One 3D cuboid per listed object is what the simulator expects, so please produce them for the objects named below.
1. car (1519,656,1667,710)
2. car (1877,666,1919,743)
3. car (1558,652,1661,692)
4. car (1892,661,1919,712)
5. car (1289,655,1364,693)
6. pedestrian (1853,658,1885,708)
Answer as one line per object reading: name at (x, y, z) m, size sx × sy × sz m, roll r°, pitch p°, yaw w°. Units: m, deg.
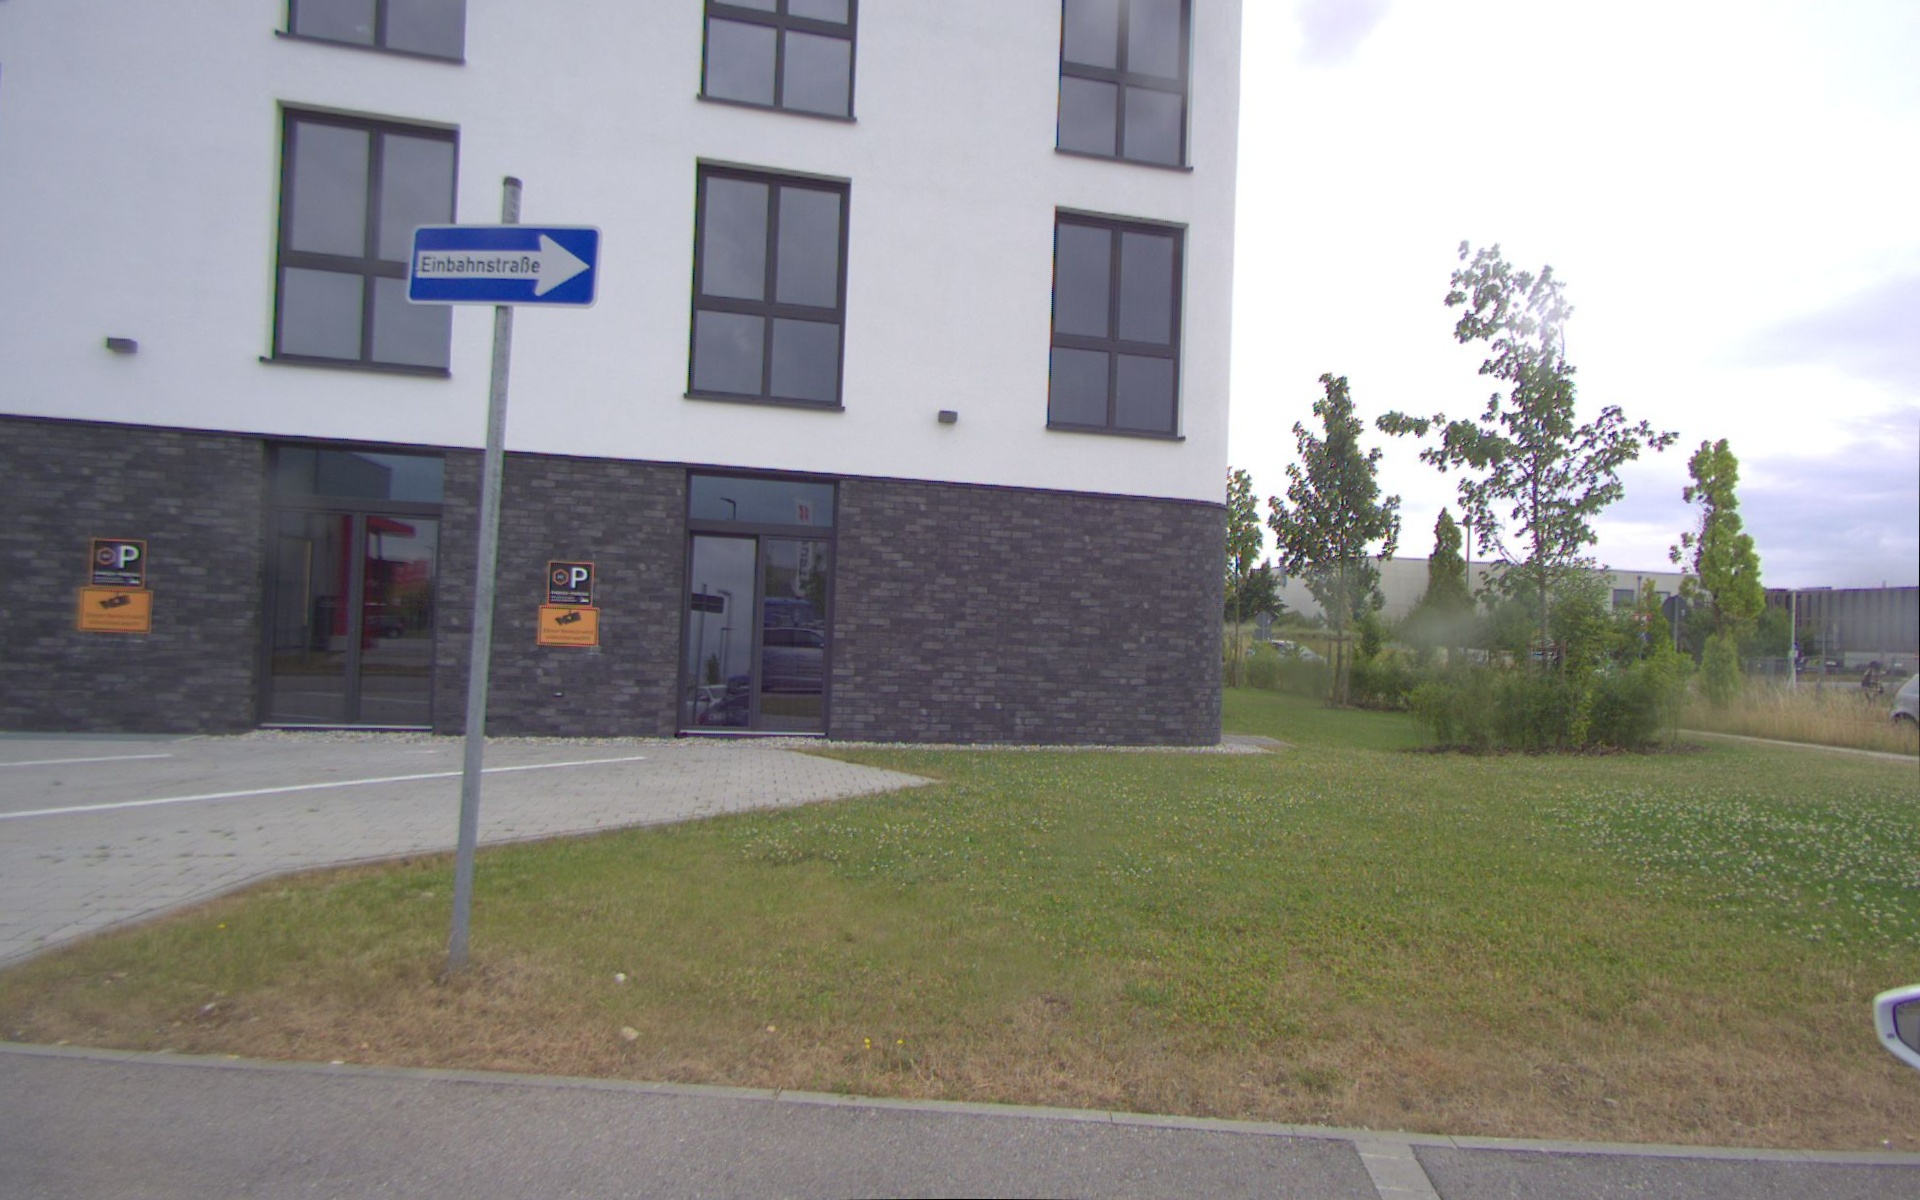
car at (19.493, 2.507, 31.197) m, size 1.725 × 1.404 × 4.300 m, roll 2°, pitch -2°, yaw -3°
car at (19.727, 2.054, 18.671) m, size 1.766 × 1.480 × 3.815 m, roll 2°, pitch -2°, yaw -4°
car at (26.463, 2.907, 41.075) m, size 1.684 × 1.360 × 3.965 m, roll 2°, pitch -1°, yaw 1°
car at (26.656, 2.341, 25.721) m, size 1.685 × 1.360 × 4.063 m, roll 2°, pitch -1°, yaw -3°
car at (17.212, 3.446, 47.400) m, size 1.785 × 1.583 × 4.401 m, roll 1°, pitch -2°, yaw -2°
pedestrian at (33.338, 3.037, 36.839) m, size 0.731 × 1.744 × 0.649 m, roll 2°, pitch -1°, yaw 33°
